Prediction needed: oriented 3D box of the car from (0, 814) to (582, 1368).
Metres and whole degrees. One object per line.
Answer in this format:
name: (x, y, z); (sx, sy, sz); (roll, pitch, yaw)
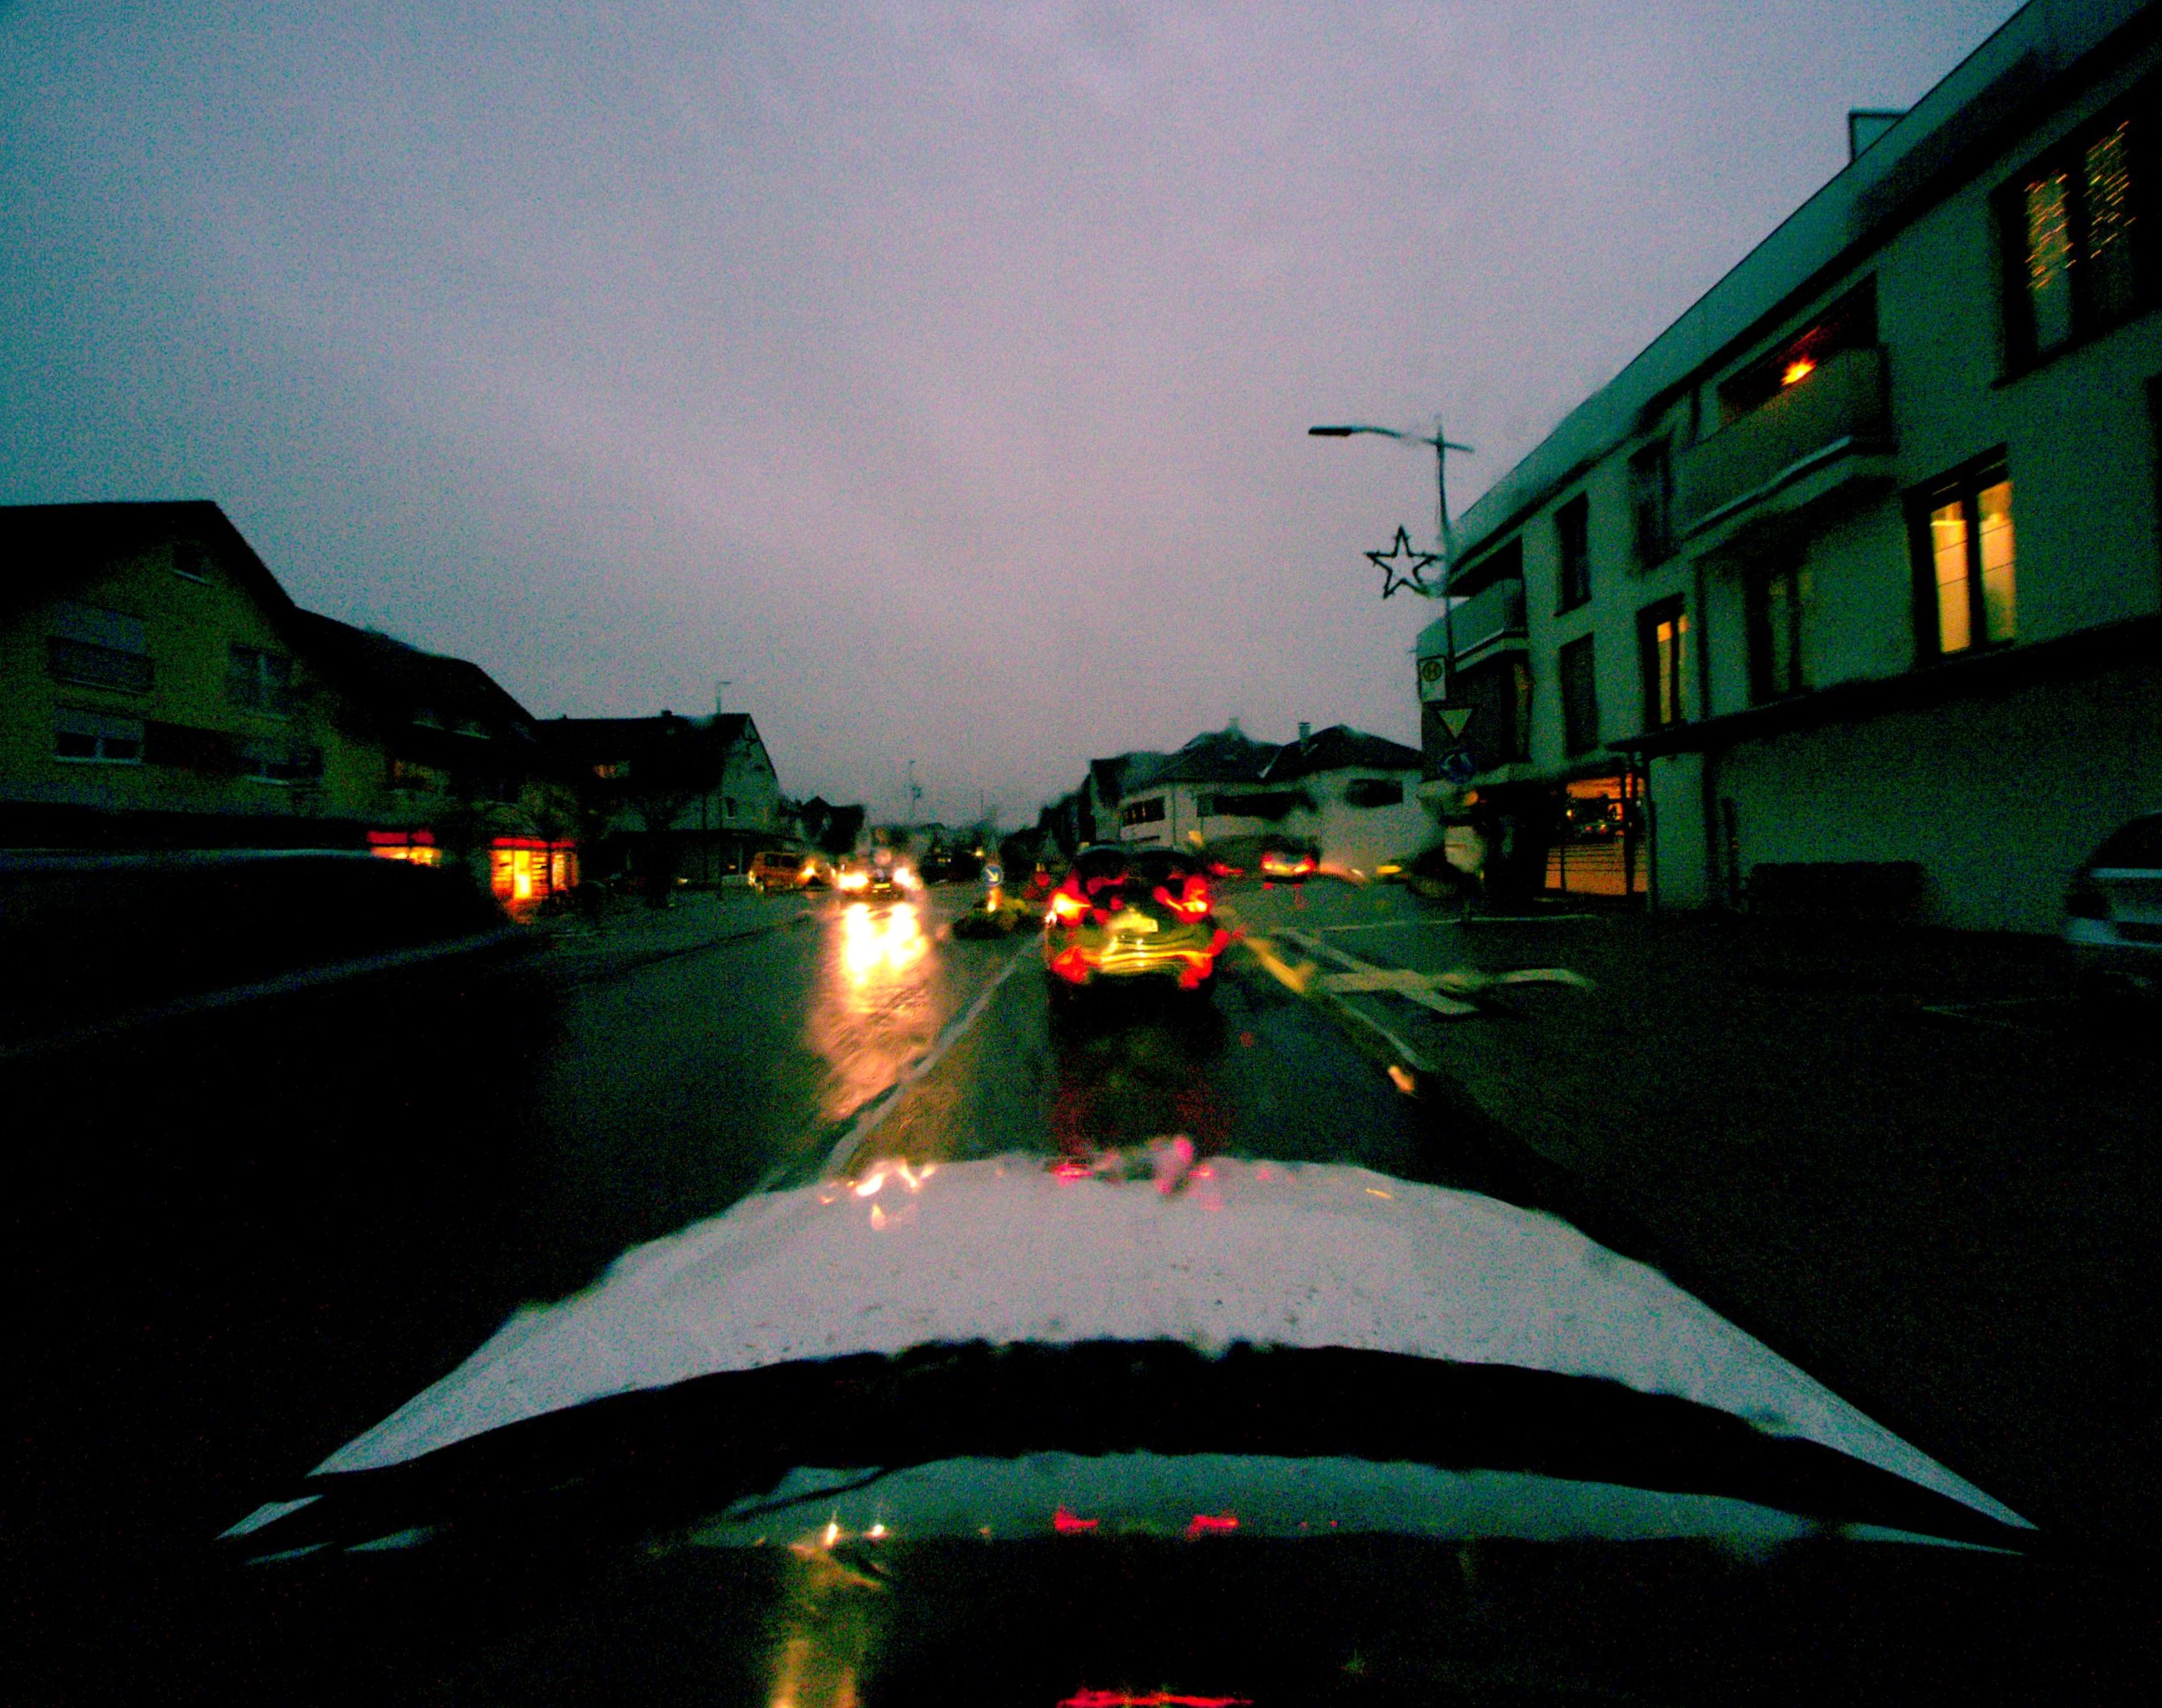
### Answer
car: (-4.105, 0.700, 3.357); (1.774, 1.621, 3.953); (-1, 0, -3)

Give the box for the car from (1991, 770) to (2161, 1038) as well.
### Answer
car: (8.031, 0.159, 4.657); (3.985, 1.503, 1.808); (-3, -2, -9)

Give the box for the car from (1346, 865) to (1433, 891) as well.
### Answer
car: (17.422, 1.390, 46.121); (4.207, 1.384, 1.850); (0, -3, 0)

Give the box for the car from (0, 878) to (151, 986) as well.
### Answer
car: (-18.263, 1.302, 13.904); (1.770, 1.631, 3.963); (-4, 1, -28)

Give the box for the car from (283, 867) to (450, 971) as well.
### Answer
car: (-13.123, 1.096, 15.210); (1.923, 1.531, 4.134); (-4, 1, -36)

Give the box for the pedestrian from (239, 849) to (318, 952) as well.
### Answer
pedestrian: (-14.059, 0.793, 14.288); (0.846, 1.711, 0.716); (-3, 0, -39)

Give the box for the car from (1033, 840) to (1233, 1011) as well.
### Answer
car: (0.498, 0.689, 9.809); (1.909, 1.615, 3.949); (-1, 0, 0)

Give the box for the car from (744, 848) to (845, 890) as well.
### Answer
car: (-14.374, 0.756, 40.798); (4.837, 2.014, 2.012); (-1, -1, 29)

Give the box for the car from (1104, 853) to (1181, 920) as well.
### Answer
car: (1.644, 0.759, 21.045); (1.768, 1.539, 3.939); (-1, 0, 6)

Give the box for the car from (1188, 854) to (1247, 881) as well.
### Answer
car: (7.809, 0.742, 46.812); (1.650, 1.465, 3.974); (-1, -1, -19)

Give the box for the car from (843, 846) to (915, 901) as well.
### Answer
car: (-7.409, 0.680, 29.564); (1.728, 1.813, 4.101); (0, -1, -26)

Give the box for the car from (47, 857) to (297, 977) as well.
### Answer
car: (-15.494, 0.971, 14.173); (1.847, 1.670, 3.857); (-4, 1, -32)

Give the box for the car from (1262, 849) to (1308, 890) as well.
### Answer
car: (9.531, 0.680, 37.883); (1.807, 1.628, 4.018); (-3, 1, 17)

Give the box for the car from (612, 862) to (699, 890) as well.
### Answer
car: (-23.047, 1.215, 44.144); (3.809, 1.422, 1.717); (-1, -3, 5)
